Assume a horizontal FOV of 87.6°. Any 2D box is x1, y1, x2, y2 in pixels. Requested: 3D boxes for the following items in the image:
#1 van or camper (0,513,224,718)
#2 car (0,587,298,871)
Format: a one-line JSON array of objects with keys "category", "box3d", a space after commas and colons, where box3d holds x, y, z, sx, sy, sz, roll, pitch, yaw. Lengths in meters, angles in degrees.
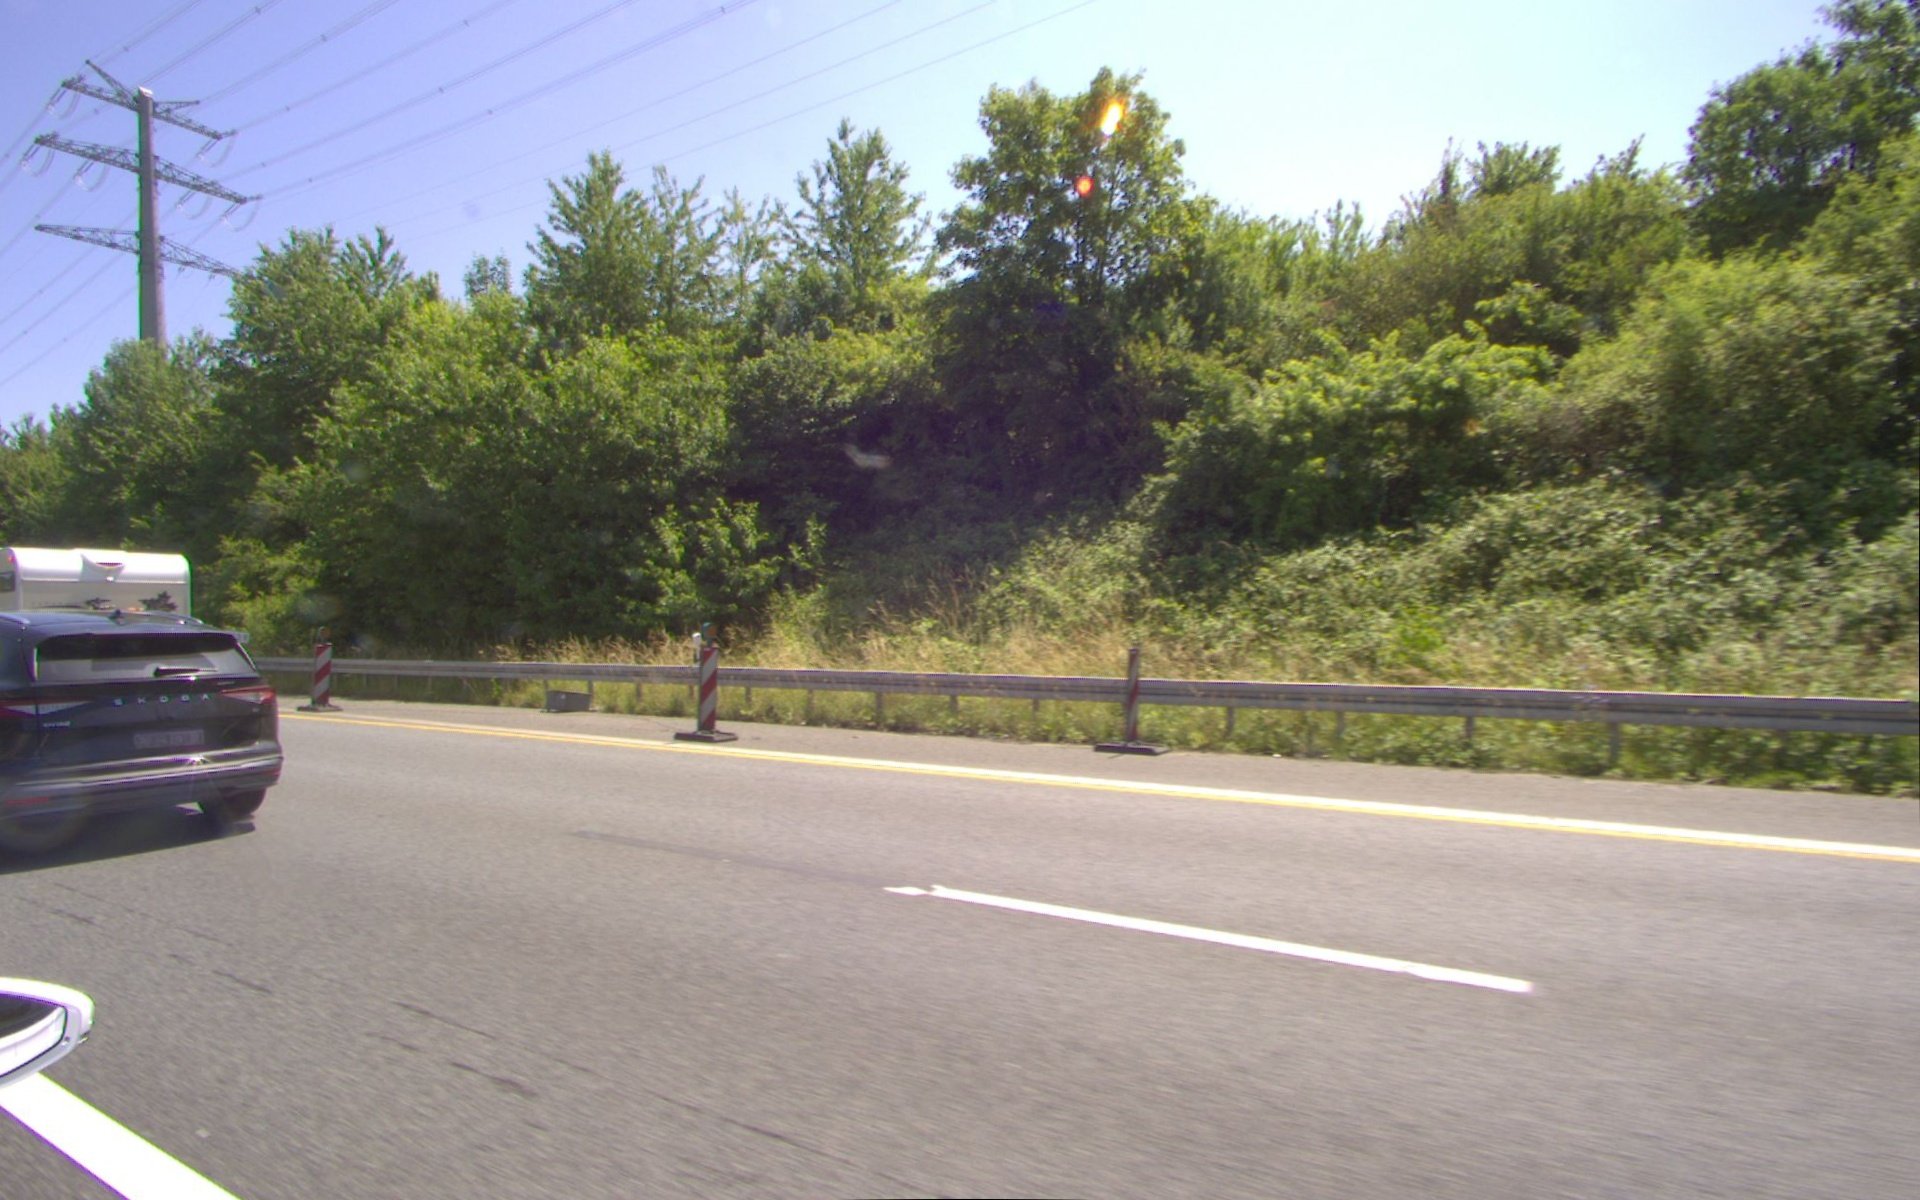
[{"category": "van or camper", "box3d": [-16.334, 0.331, 18.042, 7.523, 3.082, 2.365, -1, -2, 32]}, {"category": "car", "box3d": [-7.157, 0.823, 7.722, 4.364, 1.676, 1.699, -1, -2, 31]}]
